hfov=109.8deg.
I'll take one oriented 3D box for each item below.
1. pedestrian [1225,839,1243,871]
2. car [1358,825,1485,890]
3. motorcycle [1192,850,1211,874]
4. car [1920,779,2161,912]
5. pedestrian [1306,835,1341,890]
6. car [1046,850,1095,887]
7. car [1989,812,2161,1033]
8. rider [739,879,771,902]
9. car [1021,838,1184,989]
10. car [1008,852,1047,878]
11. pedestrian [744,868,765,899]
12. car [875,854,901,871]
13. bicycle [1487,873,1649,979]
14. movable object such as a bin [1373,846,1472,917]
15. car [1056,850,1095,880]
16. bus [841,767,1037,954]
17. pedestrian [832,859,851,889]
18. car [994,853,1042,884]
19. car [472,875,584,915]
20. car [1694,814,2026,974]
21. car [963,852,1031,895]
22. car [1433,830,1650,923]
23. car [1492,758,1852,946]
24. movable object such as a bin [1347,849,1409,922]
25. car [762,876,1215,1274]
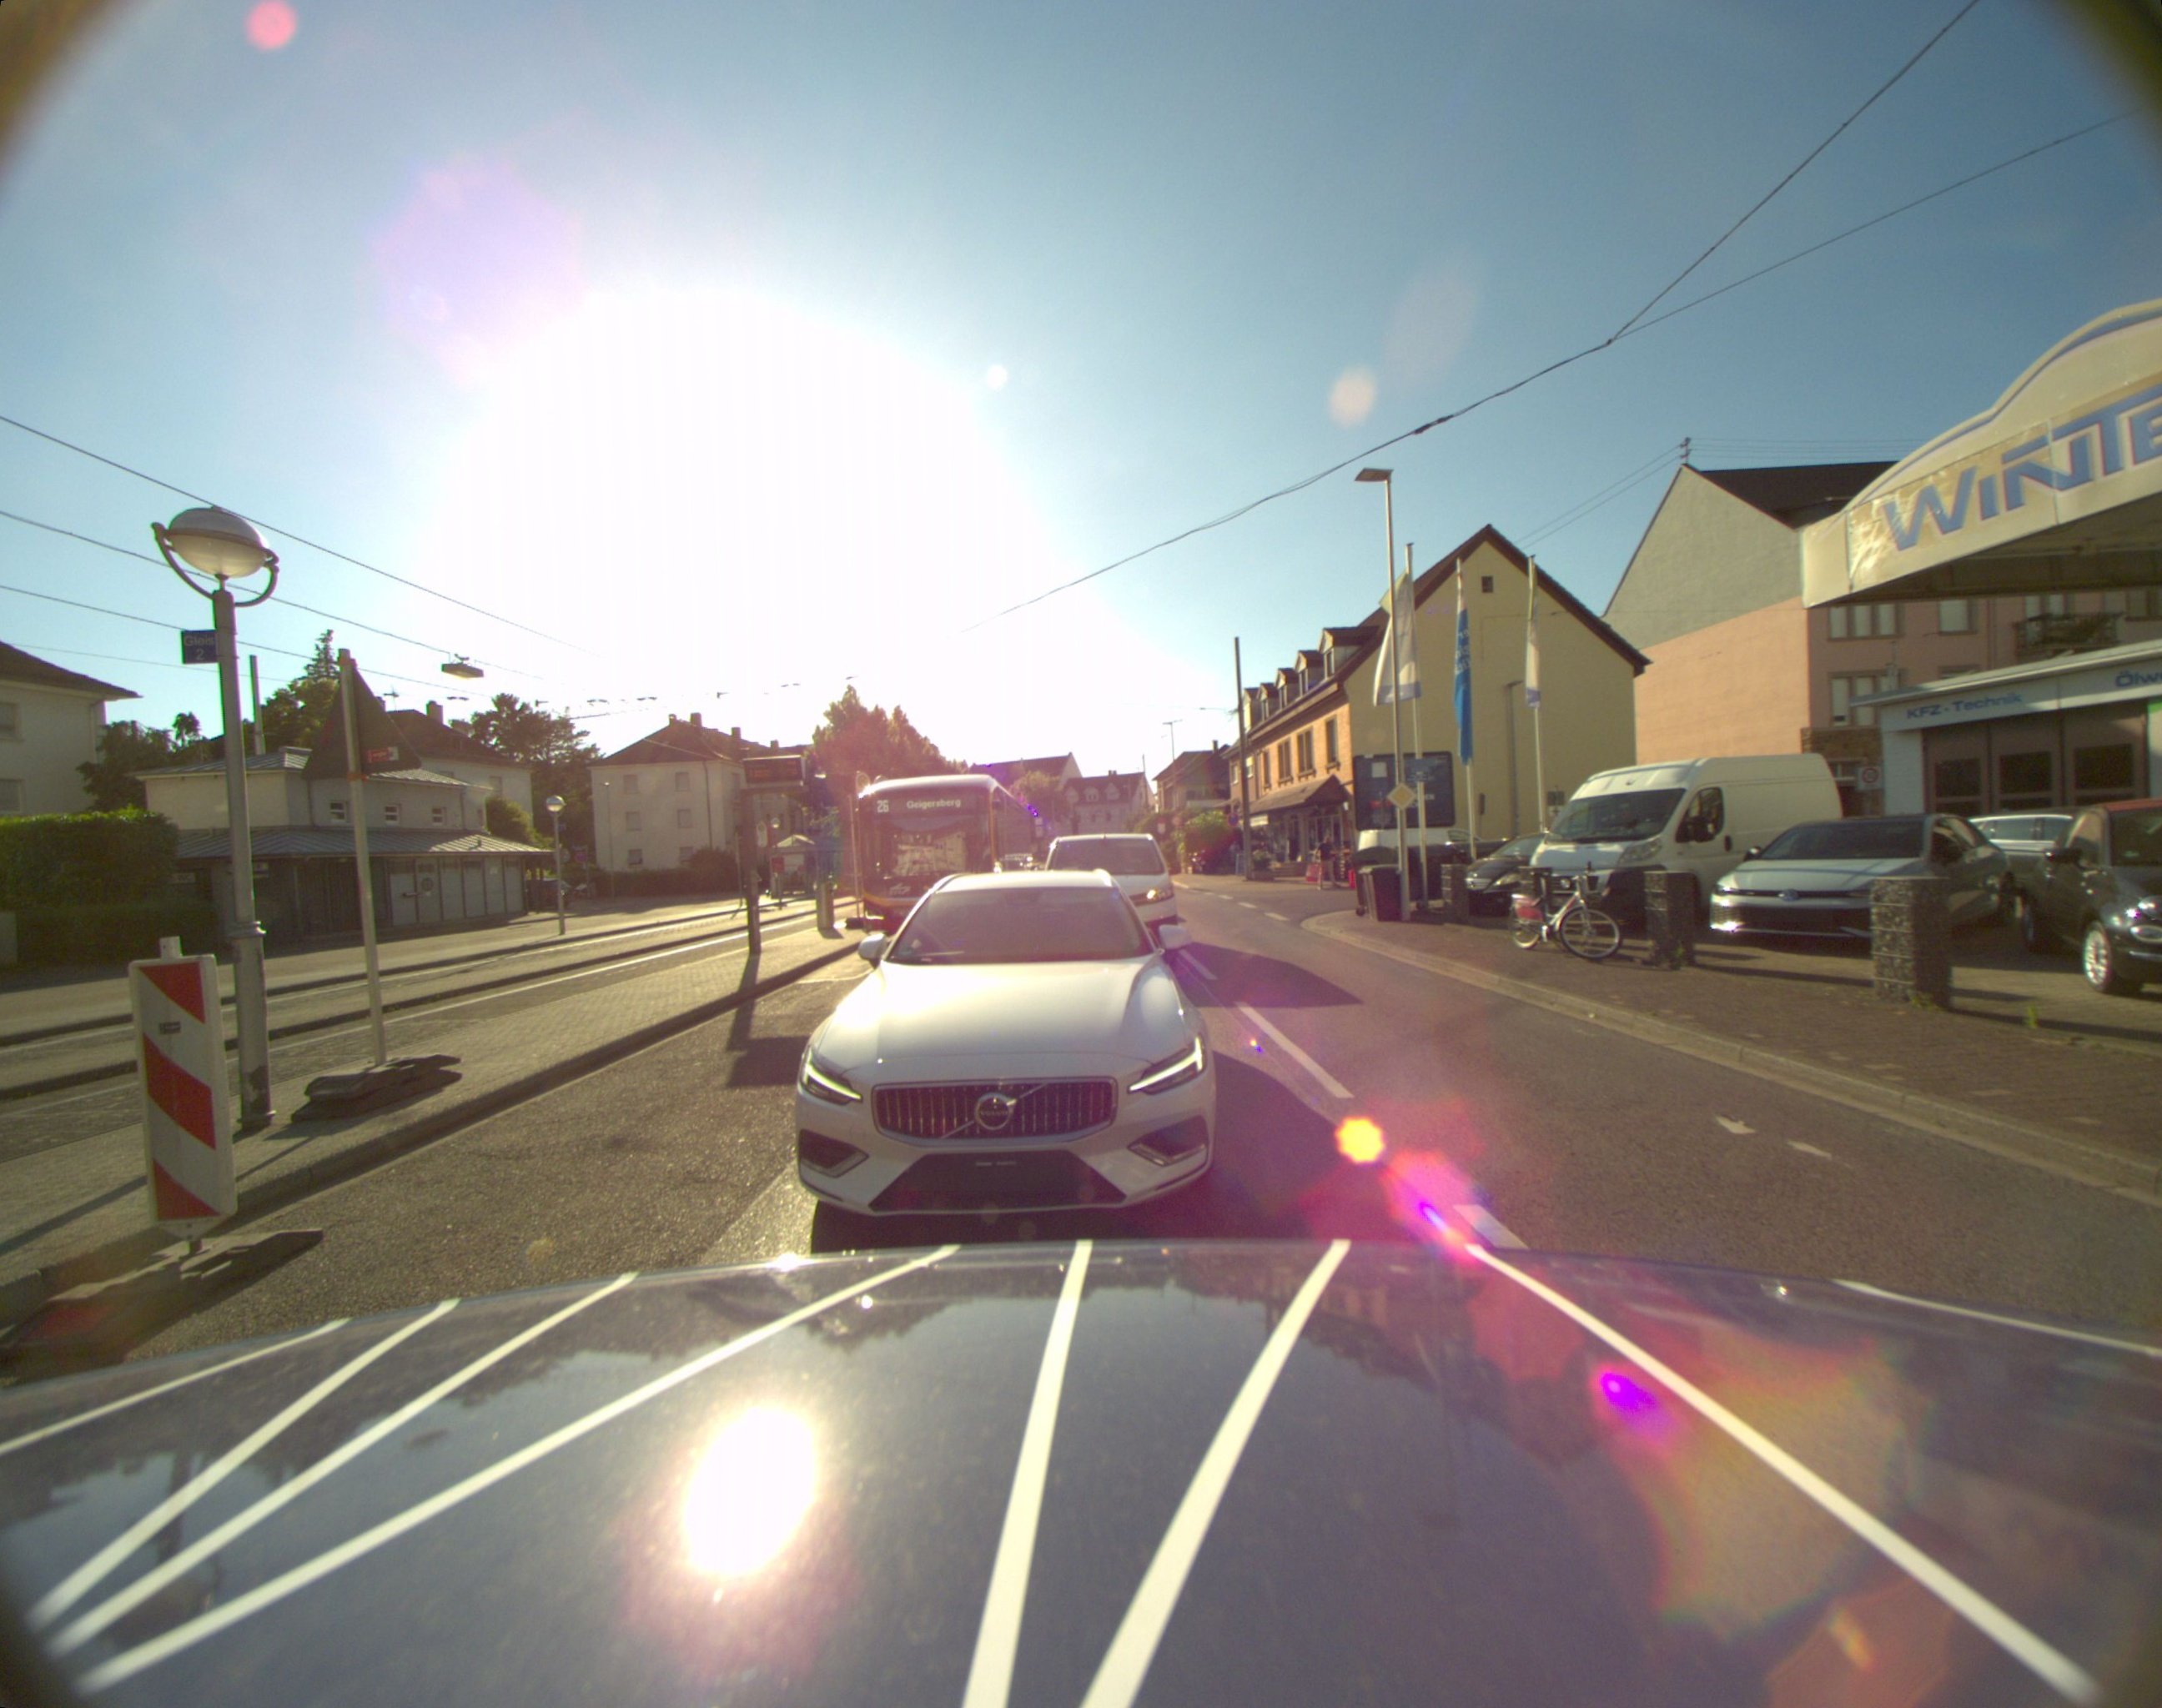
[{"bbox_3d":[8.248,0.041,40.835,0.808,1.703,0.860,-2,1,17],"label":"pedestrian"},{"bbox_3d":[11.565,0.099,25.922,3.672,2.002,1.451,-2,1,-3],"label":"car"},{"bbox_3d":[6.354,0.418,40.119,0.708,1.210,2.186,-2,1,3],"label":"motorcycle"},{"bbox_3d":[16.480,-0.171,11.987,1.742,1.933,4.257,-3,1,-1],"label":"car"},{"bbox_3d":[8.273,0.282,25.941,0.823,1.842,0.766,-2,1,-11],"label":"pedestrian"},{"bbox_3d":[-0.391,0.584,33.261,1.969,1.450,4.824,-2,0,1],"label":"car"},{"bbox_3d":[9.075,0.414,6.165,1.590,1.488,3.442,-2,1,40],"label":"car"},{"bbox_3d":[-15.023,1.667,34.993,1.852,0.986,0.581,-2,1,42],"label":"rider"},{"bbox_3d":[0.303,0.735,12.010,1.969,1.816,5.033,-2,0,1],"label":"car"},{"bbox_3d":[-3.270,0.631,47.304,1.969,1.450,4.824,-2,0,1],"label":"car"},{"bbox_3d":[-15.029,1.352,34.977,0.657,1.373,0.581,-1,2,42],"label":"pedestrian"},{"bbox_3d":[-23.258,1.016,91.773,1.998,1.853,3.999,-2,1,1],"label":"car"},{"bbox_3d":[5.881,0.816,9.313,0.725,1.080,1.791,-3,1,-3],"label":"bicycle"},{"bbox_3d":[7.593,0.580,16.914,1.798,1.456,1.046,-3,1,-25],"label":"movable object such as a bin"},{"bbox_3d":[-0.252,0.567,41.508,1.969,1.450,4.824,-2,0,1],"label":"car"},{"bbox_3d":[-2.919,0.096,19.833,2.748,3.284,12.030,-2,0,0],"label":"bus"},{"bbox_3d":[-13.332,1.106,42.309,0.843,1.601,0.823,-3,1,-28],"label":"pedestrian"},{"bbox_3d":[-3.228,0.706,39.889,1.969,1.450,4.824,-2,0,1],"label":"car"},{"bbox_3d":[-27.687,2.047,38.140,4.052,1.663,2.000,-4,1,2],"label":"car"},{"bbox_3d":[9.489,0.361,9.211,4.036,1.488,1.739,-3,1,-28],"label":"car"},{"bbox_3d":[-3.151,0.706,29.500,1.969,1.450,4.824,-2,0,1],"label":"car"},{"bbox_3d":[8.967,0.376,14.747,4.036,1.469,1.739,-3,1,-28],"label":"car"},{"bbox_3d":[9.143,-0.132,11.760,4.997,2.440,2.111,-3,1,-22],"label":"car"},{"bbox_3d":[6.236,0.643,15.950,1.045,1.456,0.797,-2,1,32],"label":"movable object such as a bin"},{"bbox_3d":[-0.354,0.984,5.256,1.821,1.446,4.217,-2,0,1],"label":"car"}]
